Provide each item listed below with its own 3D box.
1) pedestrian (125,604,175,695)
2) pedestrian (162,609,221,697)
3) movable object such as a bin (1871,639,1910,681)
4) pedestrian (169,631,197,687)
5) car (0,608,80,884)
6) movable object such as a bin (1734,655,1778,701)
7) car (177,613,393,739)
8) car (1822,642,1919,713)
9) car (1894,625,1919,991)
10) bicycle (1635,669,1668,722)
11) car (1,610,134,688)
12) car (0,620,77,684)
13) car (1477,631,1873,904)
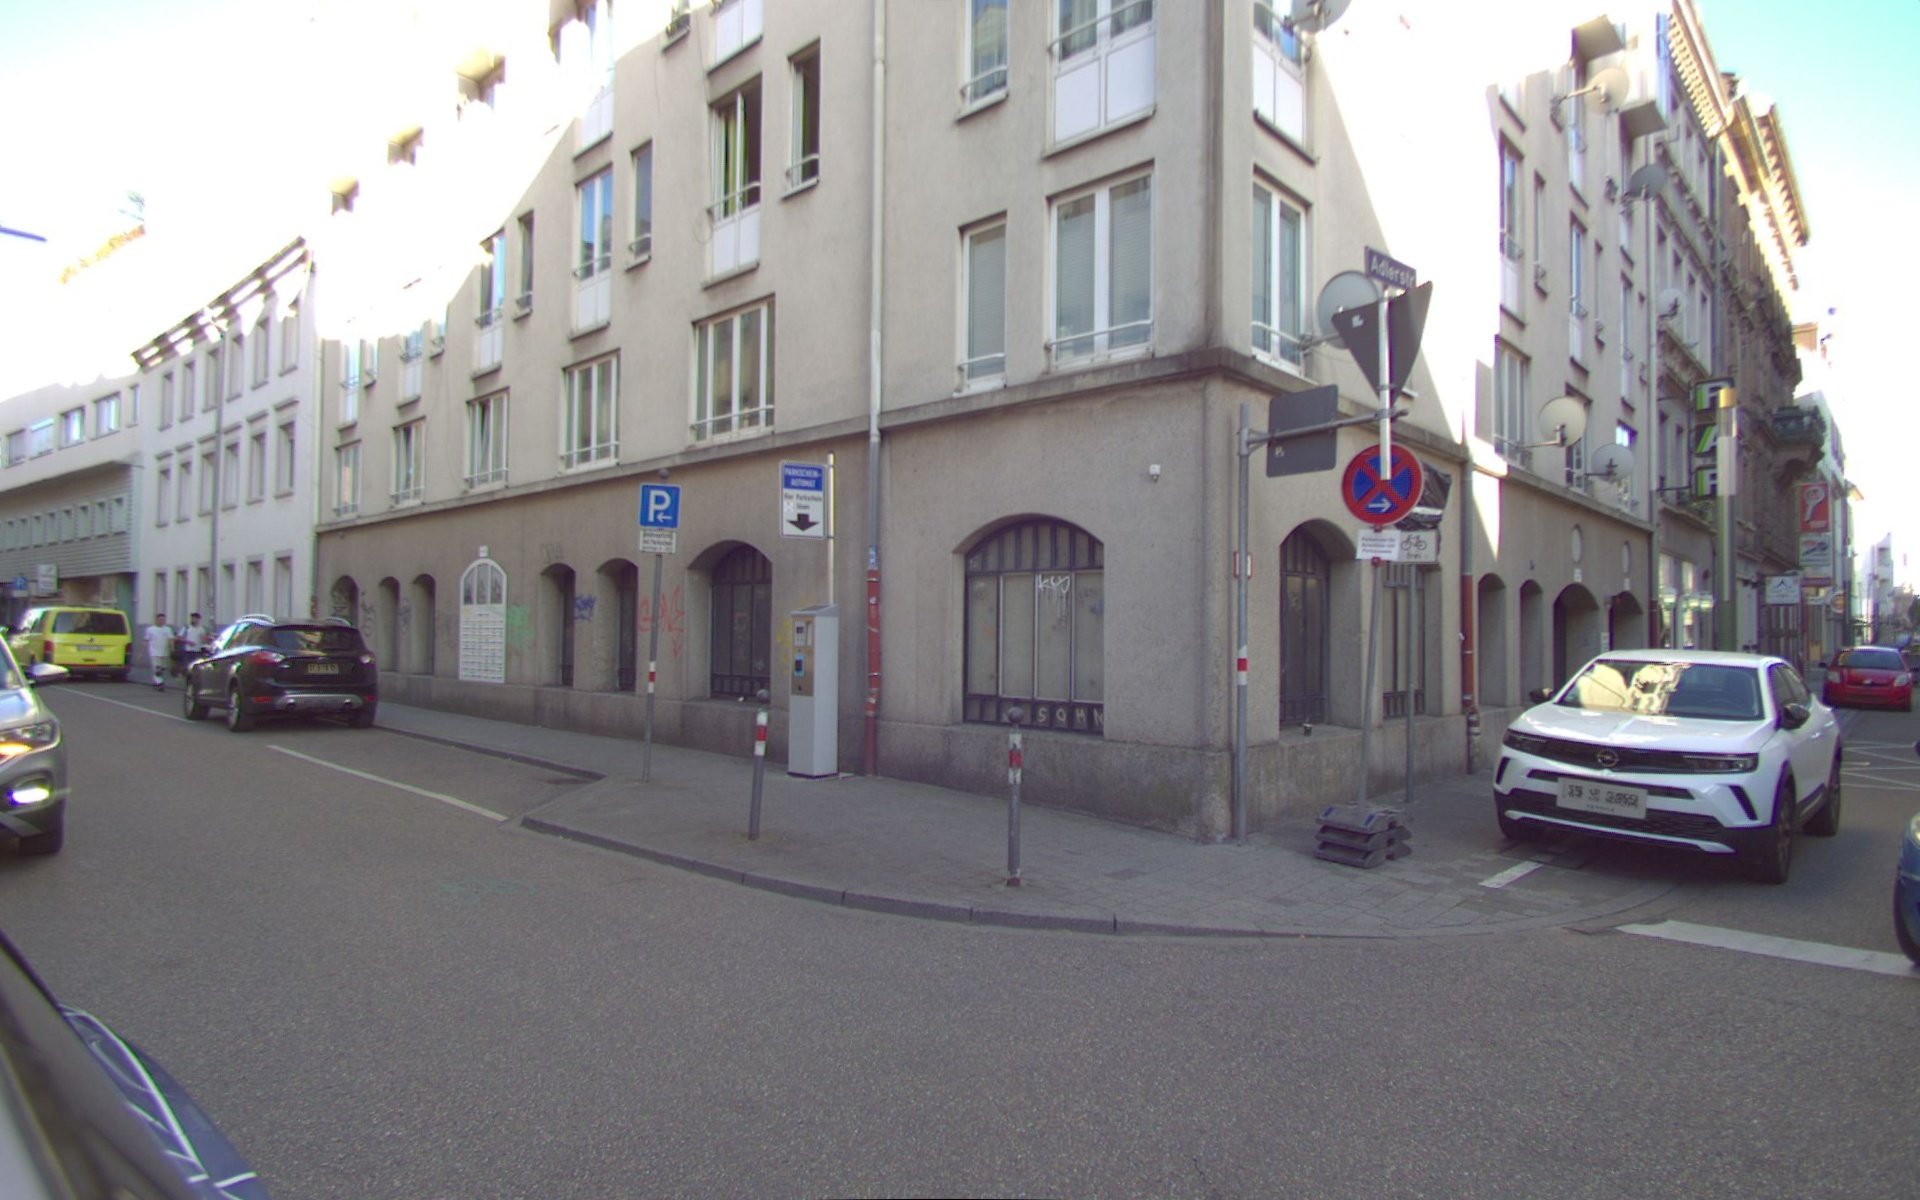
[{"bbox_3d":[-18.448,1.114,23.052,0.698,2.029,0.706,-1,-3,40],"label":"pedestrian"},{"bbox_3d":[-18.156,1.245,23.928,0.698,2.029,0.925,-1,-3,40],"label":"pedestrian"},{"bbox_3d":[35.869,2.284,39.016,1.083,1.555,0.895,0,-1,42],"label":"movable object such as a bin"},{"bbox_3d":[-20.553,1.540,26.772,0.548,1.459,0.583,2,-3,-39],"label":"pedestrian"},{"bbox_3d":[-7.283,0.843,6.623,3.998,1.558,1.740,-1,-2,41],"label":"car"},{"bbox_3d":[19.749,1.925,25.113,0.837,1.056,0.745,-1,0,40],"label":"movable object such as a bin"},{"bbox_3d":[-10.677,1.139,15.905,4.000,1.717,1.863,-2,-5,43],"label":"car"},{"bbox_3d":[22.708,1.865,25.236,1.793,1.537,3.945,0,-1,41],"label":"car"},{"bbox_3d":[6.228,0.929,4.941,3.745,1.605,1.860,2,-5,-39],"label":"car"},{"bbox_3d":[12.365,1.691,18.084,1.049,0.864,0.219,-1,0,-41],"label":"bicycle"},{"bbox_3d":[-23.344,1.246,26.431,3.994,1.888,1.865,-1,-3,38],"label":"car"},{"bbox_3d":[-28.231,1.527,30.299,3.994,1.781,1.865,-1,-5,38],"label":"car"},{"bbox_3d":[5.817,1.091,8.053,3.908,1.605,1.746,3,-2,-42],"label":"car"}]
